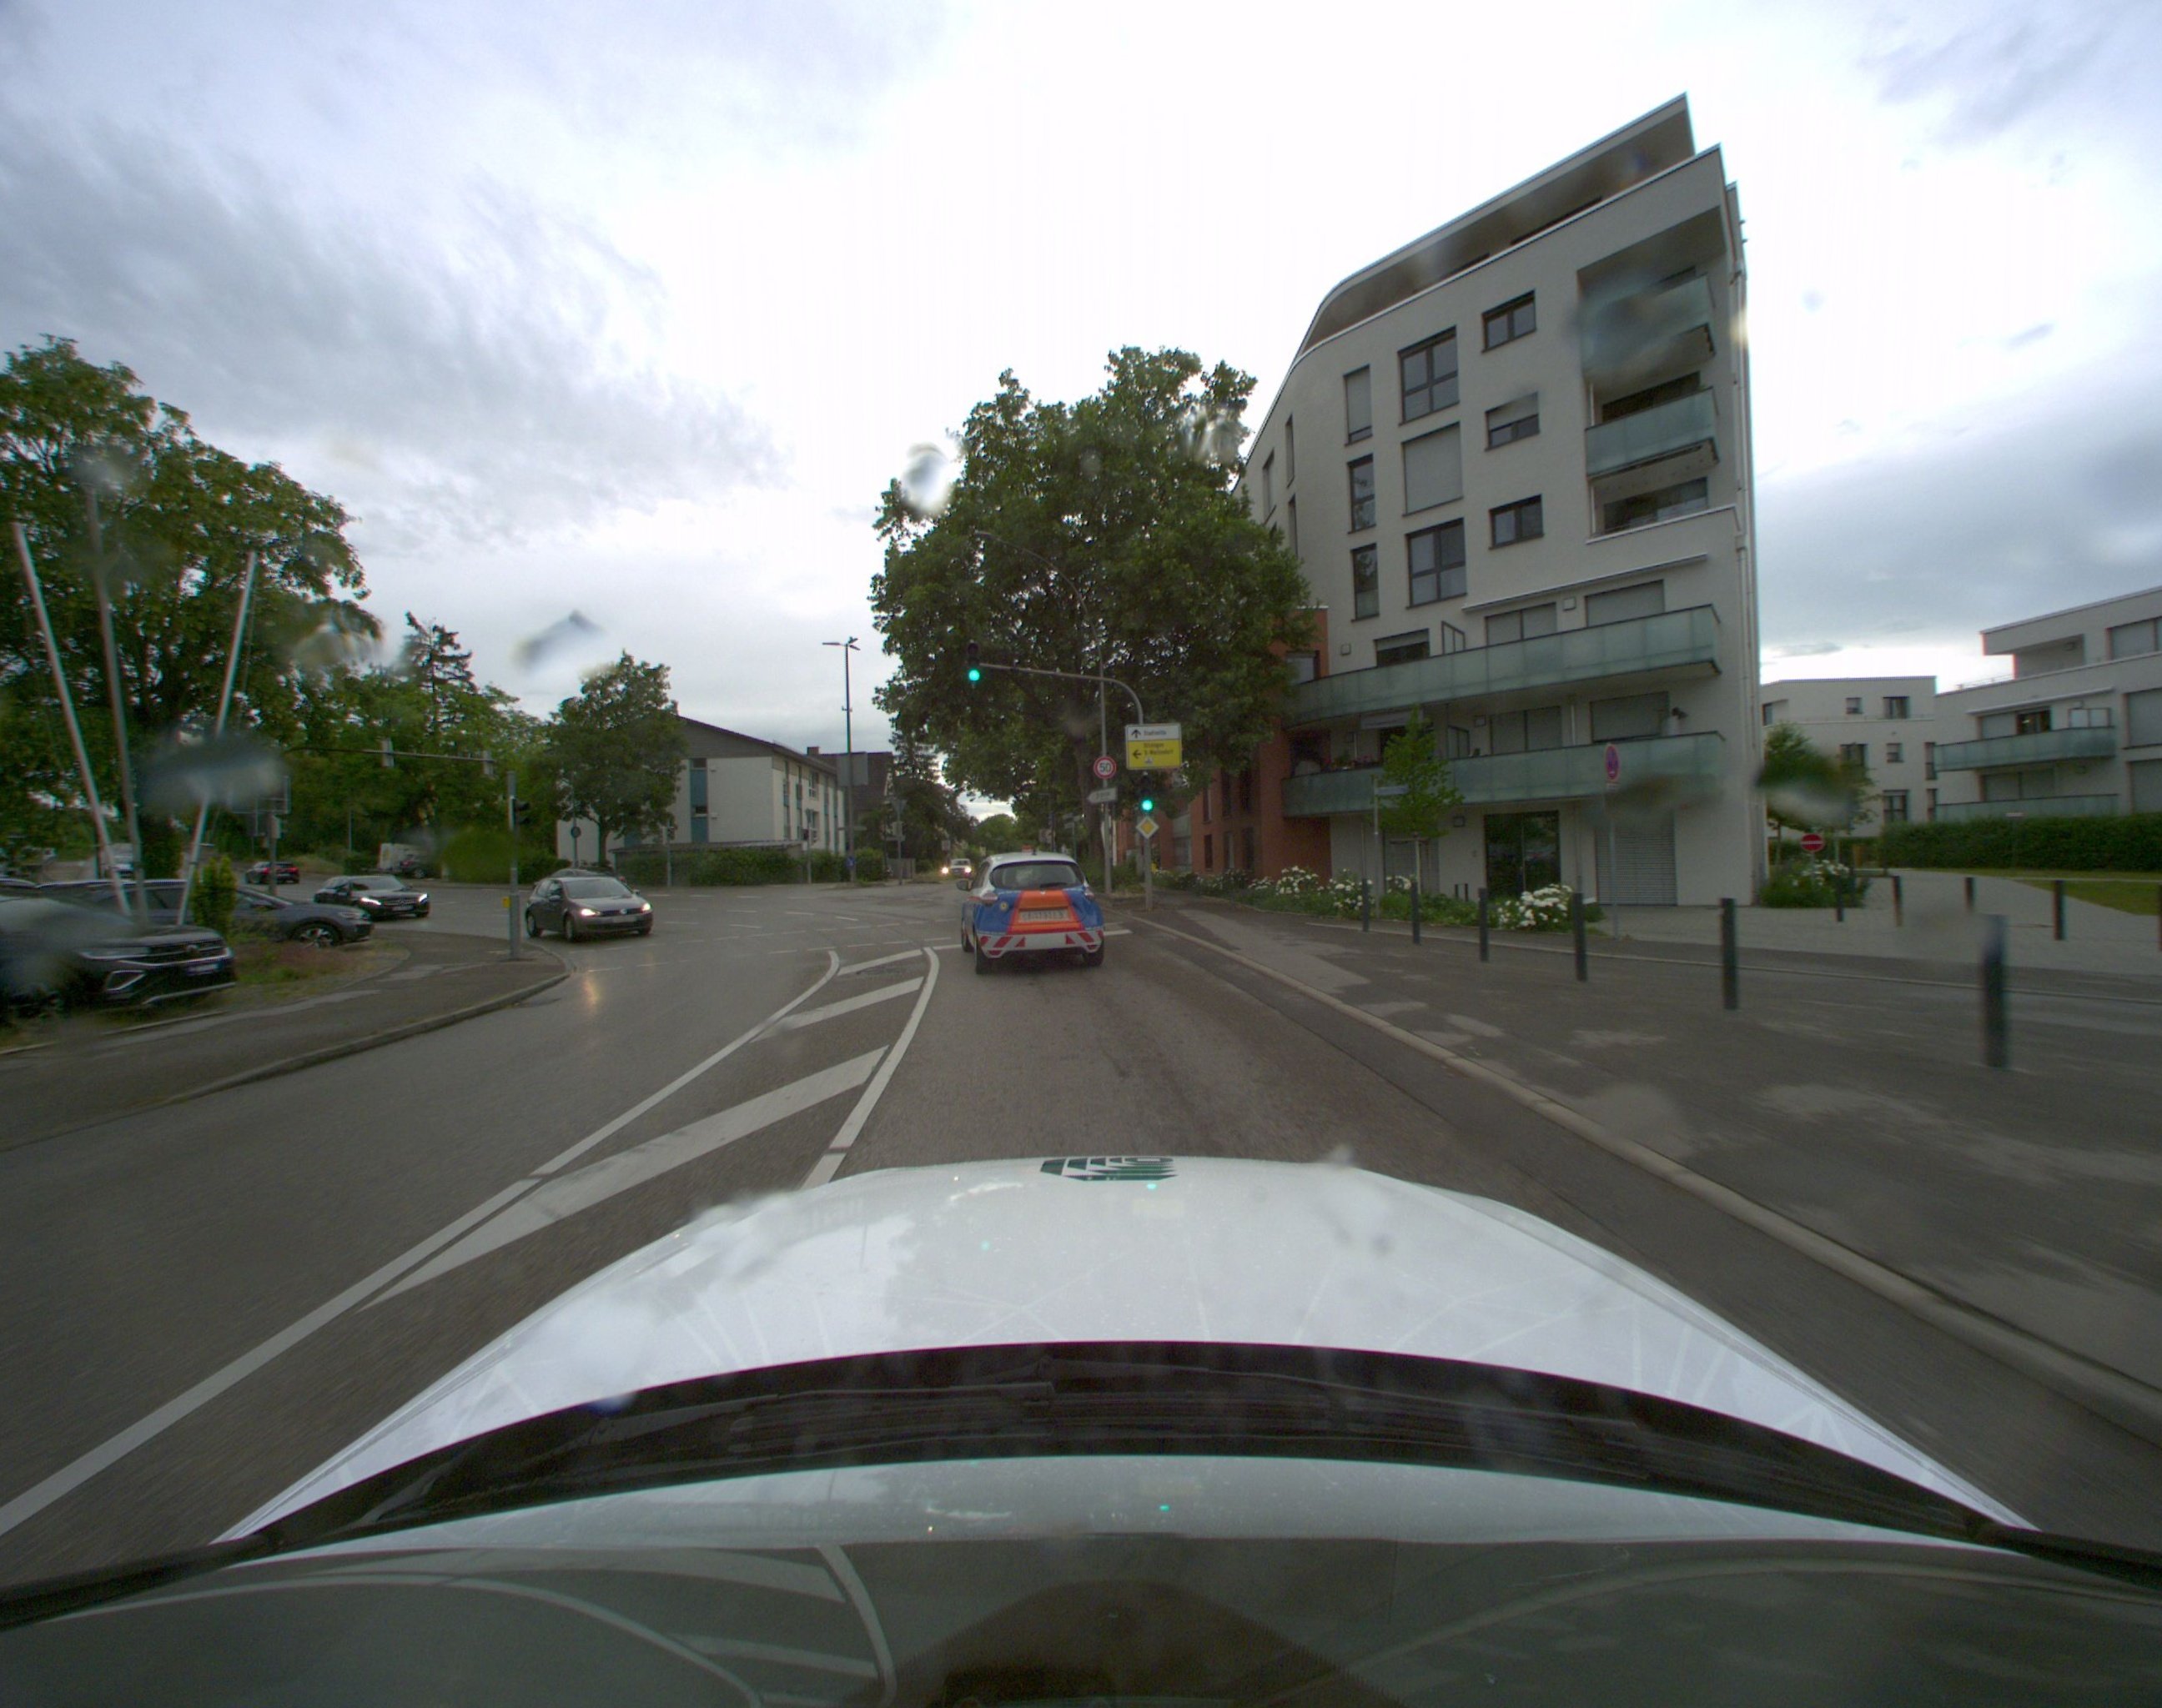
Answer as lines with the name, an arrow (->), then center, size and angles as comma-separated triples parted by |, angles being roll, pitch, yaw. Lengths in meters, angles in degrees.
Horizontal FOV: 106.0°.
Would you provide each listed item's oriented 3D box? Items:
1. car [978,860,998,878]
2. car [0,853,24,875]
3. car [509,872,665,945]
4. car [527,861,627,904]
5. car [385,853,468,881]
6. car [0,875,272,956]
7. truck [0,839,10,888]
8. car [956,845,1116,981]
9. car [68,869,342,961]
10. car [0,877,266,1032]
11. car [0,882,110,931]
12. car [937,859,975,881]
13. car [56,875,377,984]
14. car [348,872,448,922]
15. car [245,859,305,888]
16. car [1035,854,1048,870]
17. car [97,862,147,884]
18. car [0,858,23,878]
car -> -9.359, 1.474, 82.306 | 1.874, 1.669, 3.708 | -1, 0, -5
car -> -81.109, 0.758, 59.367 | 1.791, 1.623, 4.802 | -2, 0, 32
car -> -12.077, 1.270, 19.843 | 3.948, 1.456, 1.741 | -2, 3, 36
car -> -20.228, 1.092, 32.642 | 3.948, 1.574, 2.013 | 0, 1, 36
car -> -44.434, 0.843, 55.346 | 1.974, 1.723, 4.026 | 0, 1, 37
car -> -22.367, 1.351, 19.424 | 1.734, 1.510, 4.026 | 0, 1, 32
truck -> -59.403, 0.499, 43.863 | 5.487, 2.539, 2.013 | 0, 1, 37
car -> -0.838, 0.707, 12.074 | 1.747, 1.581, 3.984 | -3, 1, -12
car -> -19.767, 1.269, 18.556 | 1.734, 1.554, 4.026 | 0, 3, 37
car -> -12.205, 1.105, 9.214 | 3.947, 1.530, 1.617 | -1, 1, -10
car -> -34.238, 1.666, 25.933 | 1.748, 1.522, 3.999 | -1, -2, 0
car -> -8.279, 1.055, 54.392 | 1.936, 1.452, 4.297 | 0, -1, -1
car -> -16.239, 1.320, 15.663 | 4.004, 1.490, 1.736 | -4, 3, -42
car -> -22.951, 1.390, 27.332 | 4.294, 1.392, 1.723 | 1, 2, 39
car -> -50.809, 1.194, 51.321 | 3.948, 1.684, 2.013 | -1, 1, 36
car -> -5.223, 1.042, 108.916 | 1.639, 2.017, 3.712 | -1, 1, -2
car -> -65.271, 1.242, 55.437 | 3.660, 1.404, 1.602 | 0, 1, 31
car -> -78.503, 1.057, 57.726 | 1.791, 1.376, 4.024 | -2, 0, 27
